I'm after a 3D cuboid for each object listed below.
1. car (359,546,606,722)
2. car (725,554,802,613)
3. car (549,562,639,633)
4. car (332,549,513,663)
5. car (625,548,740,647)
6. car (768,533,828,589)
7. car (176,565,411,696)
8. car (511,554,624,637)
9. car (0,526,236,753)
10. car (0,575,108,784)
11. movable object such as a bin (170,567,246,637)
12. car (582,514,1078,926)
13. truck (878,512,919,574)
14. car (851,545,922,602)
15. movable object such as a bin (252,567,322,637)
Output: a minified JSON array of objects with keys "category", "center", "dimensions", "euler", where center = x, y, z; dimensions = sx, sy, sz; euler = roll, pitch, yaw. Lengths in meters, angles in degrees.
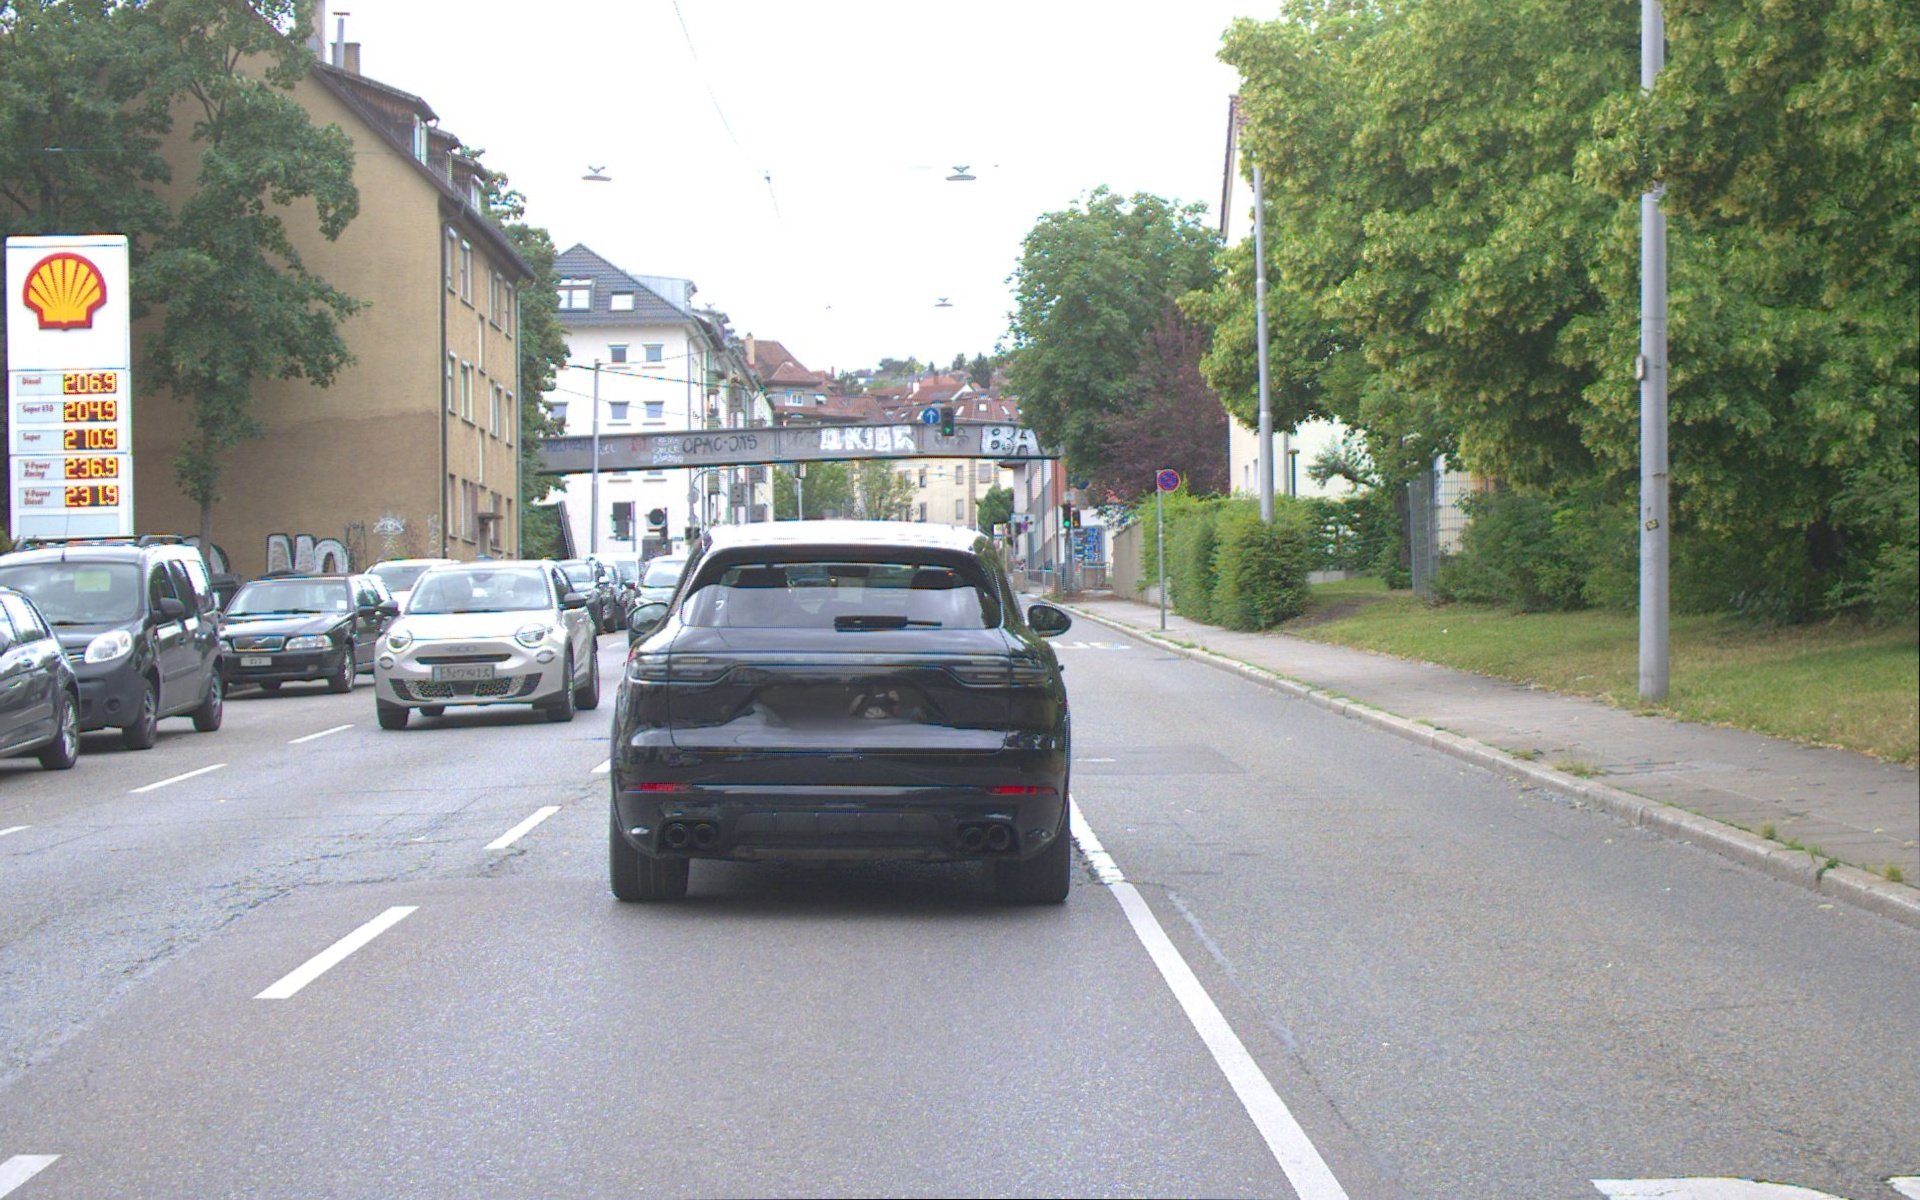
[{"category":"car","center":[-4.493,0.275,32.851],"dimensions":[1.797,1.520,4.000],"euler":[-2,1,-1]},{"category":"car","center":[-5.167,-0.455,90.914],"dimensions":[1.778,1.461,4.499],"euler":[-1,1,0]},{"category":"car","center":[-8.364,-0.089,78.791],"dimensions":[1.751,1.525,4.100],"euler":[-2,1,-3]},{"category":"car","center":[-7.910,0.056,50.967],"dimensions":[1.915,1.572,4.700],"euler":[-1,1,0]},{"category":"car","center":[-4.636,-0.063,57.761],"dimensions":[1.683,1.550,3.719],"euler":[-2,1,-2]},{"category":"car","center":[-5.643,-1.370,120.141],"dimensions":[1.931,1.894,4.590],"euler":[-1,1,-1]},{"category":"car","center":[-8.060,0.327,41.981],"dimensions":[1.798,1.426,4.743],"euler":[-2,1,2]},{"category":"car","center":[-8.281,-0.121,72.833],"dimensions":[1.783,1.603,4.264],"euler":[-3,1,1]},{"category":"car","center":[-7.803,0.304,30.578],"dimensions":[1.851,1.829,4.702],"euler":[-2,1,-2]},{"category":"car","center":[-7.649,0.581,25.130],"dimensions":[1.790,1.445,4.218],"euler":[-2,1,-1]},{"category":"movable object such as a bin","center":[-15.499,0.036,70.846],"dimensions":[1.392,1.423,0.913],"euler":[0,1,-3]},{"category":"car","center":[-0.535,0.438,15.872],"dimensions":[1.993,1.656,4.000],"euler":[0,1,0]},{"category":"truck","center":[-3.492,-3.229,195.579],"dimensions":[2.266,3.413,9.879],"euler":[-1,0,-1]},{"category":"car","center":[-1.868,-0.704,88.178],"dimensions":[1.741,1.395,4.000],"euler":[0,1,0]},{"category":"movable object such as a bin","center":[-13.817,0.034,70.608],"dimensions":[1.281,1.423,1.279],"euler":[0,1,-5]}]
